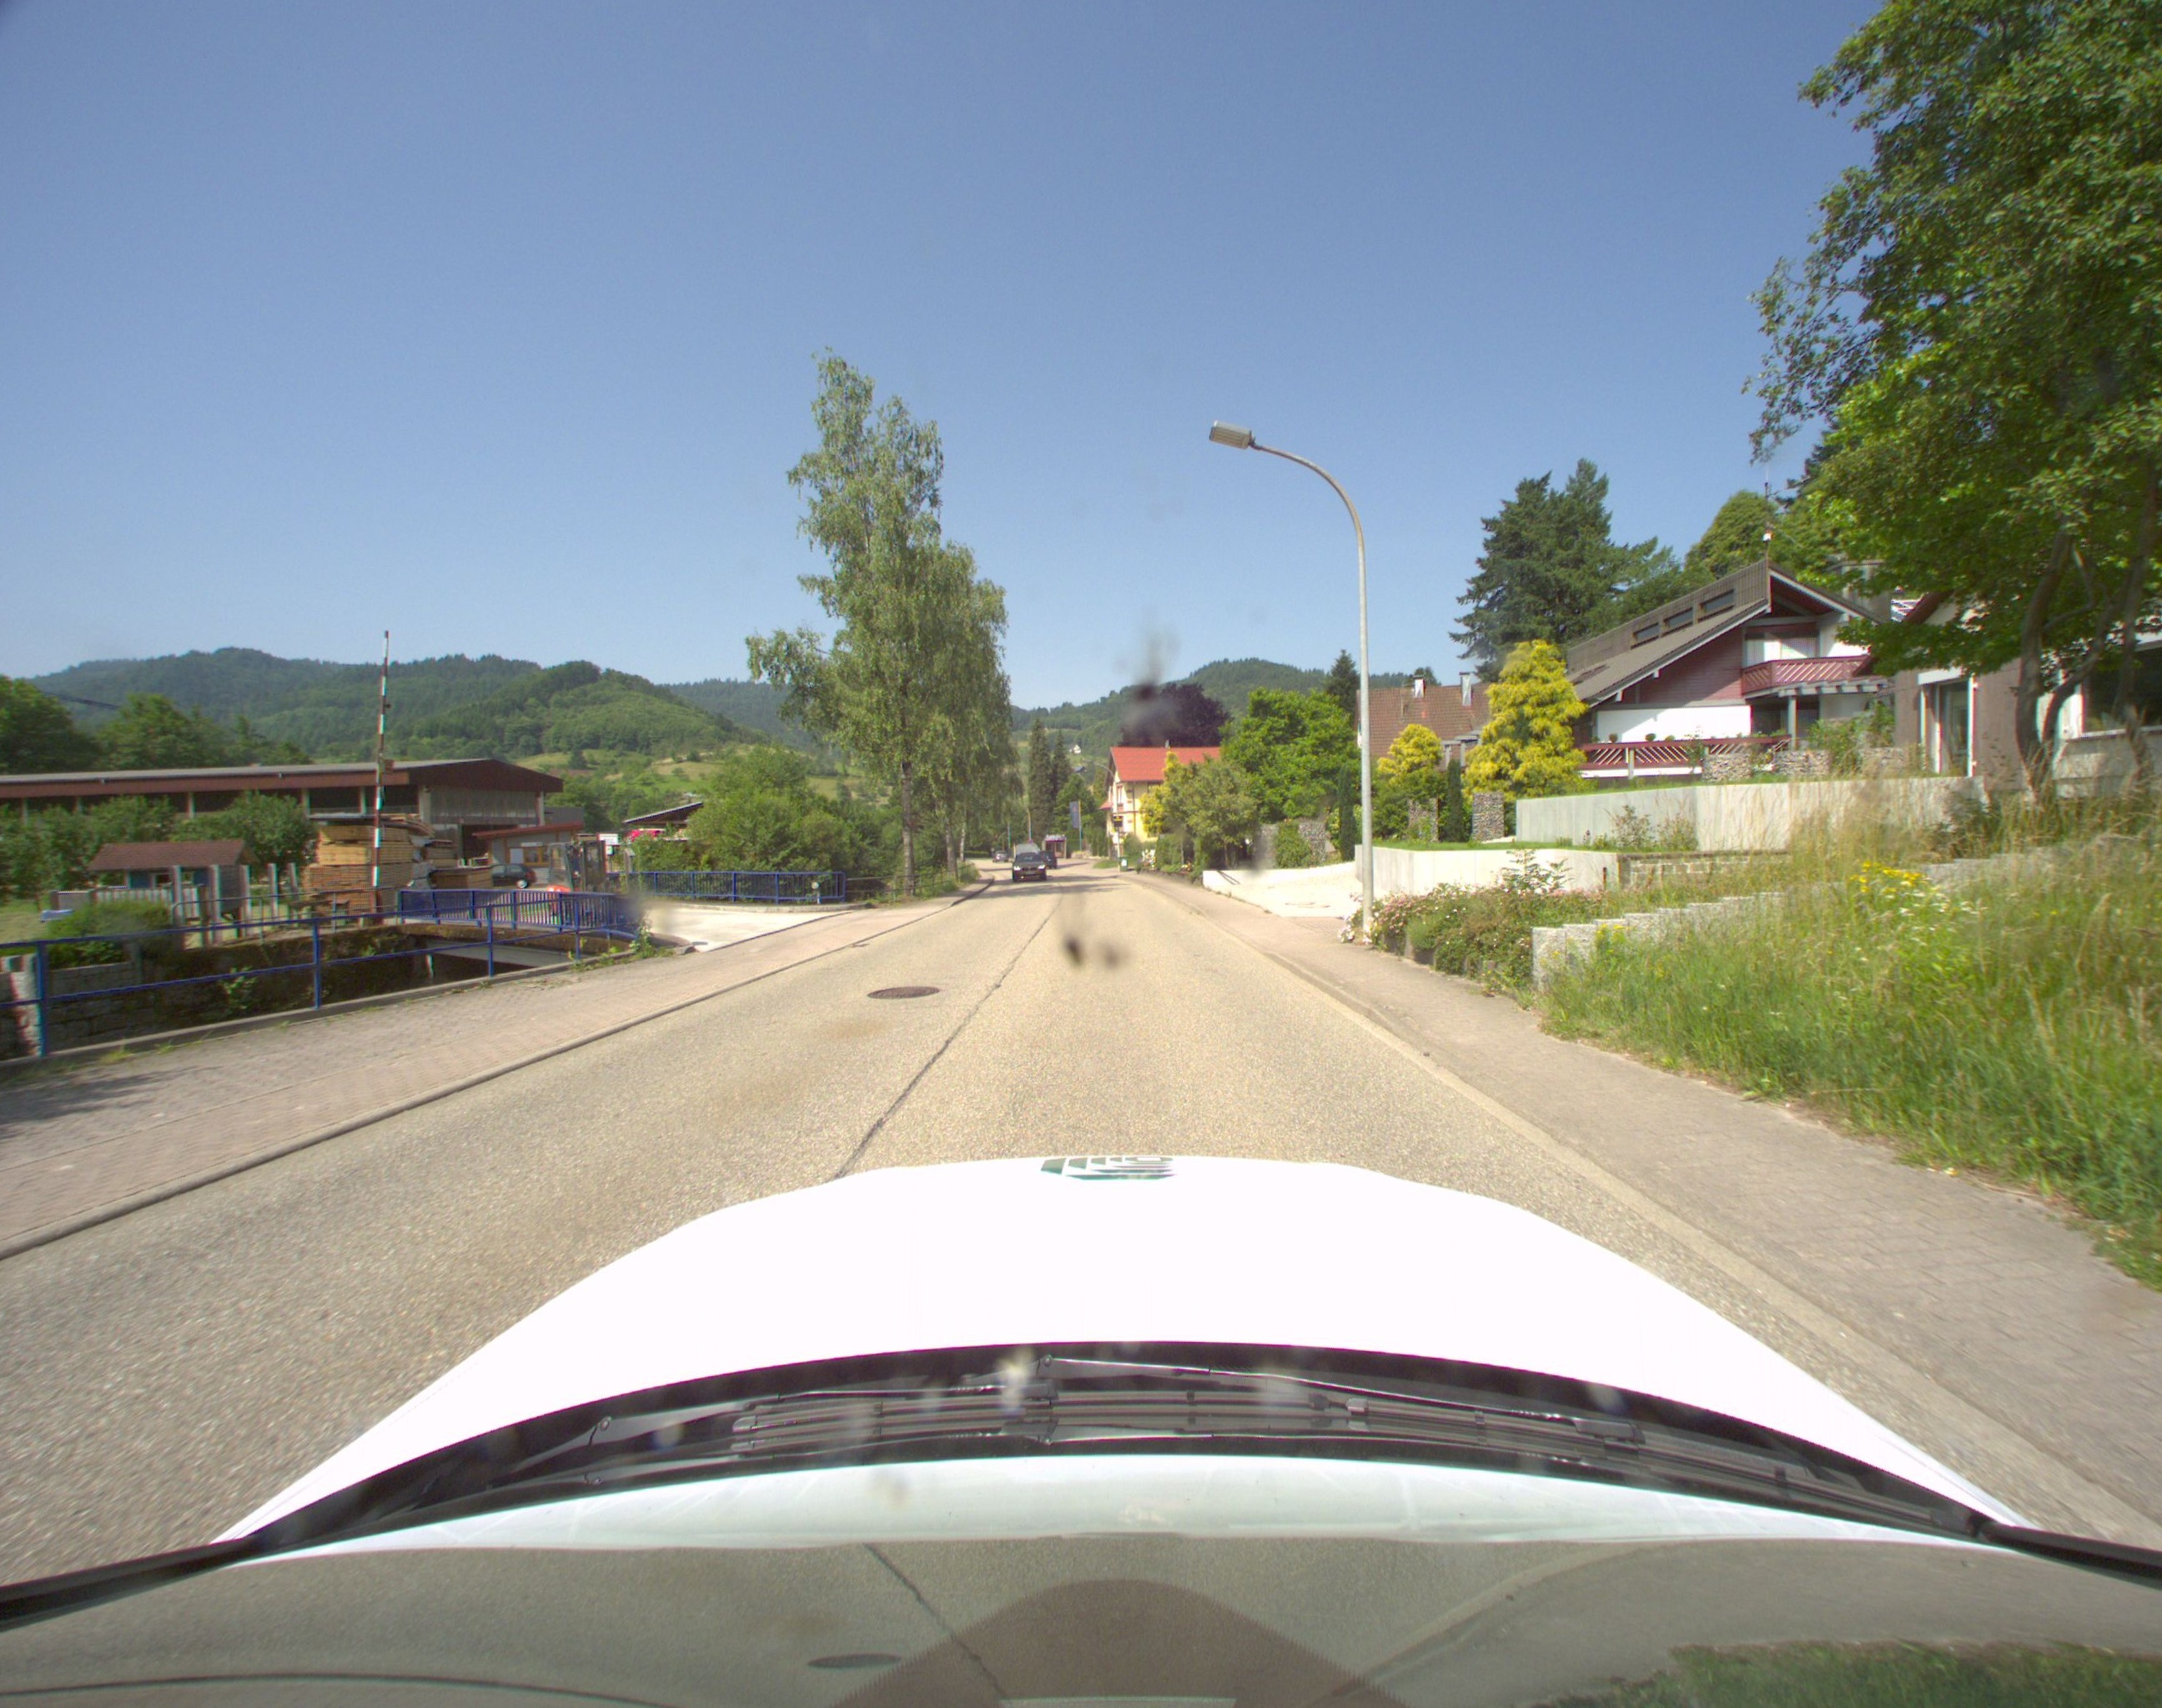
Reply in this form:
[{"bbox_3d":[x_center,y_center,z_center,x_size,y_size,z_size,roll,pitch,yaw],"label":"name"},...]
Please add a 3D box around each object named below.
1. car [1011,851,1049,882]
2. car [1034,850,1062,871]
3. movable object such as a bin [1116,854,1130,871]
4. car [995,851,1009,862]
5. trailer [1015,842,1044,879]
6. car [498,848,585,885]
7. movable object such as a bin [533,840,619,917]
[{"bbox_3d":[-2.740,0.651,44.678,1.808,1.500,4.148,-2,0,-1],"label":"car"},{"bbox_3d":[-2.870,0.573,70.802,1.920,1.698,3.775,-2,0,-10],"label":"car"},{"bbox_3d":[2.752,0.567,53.755,0.808,1.042,0.577,-2,1,-7],"label":"movable object such as a bin"},{"bbox_3d":[-9.985,0.307,102.640,1.627,1.422,3.391,-1,0,-6],"label":"car"},{"bbox_3d":[-3.092,0.379,49.123,1.462,2.077,3.669,-2,0,-1],"label":"trailer"},{"bbox_3d":[-33.494,0.757,50.651,1.974,2.013,4.026,-3,0,40],"label":"car"},{"bbox_3d":[-14.457,0.699,23.294,2.099,2.072,1.143,-2,0,29],"label":"movable object such as a bin"}]
